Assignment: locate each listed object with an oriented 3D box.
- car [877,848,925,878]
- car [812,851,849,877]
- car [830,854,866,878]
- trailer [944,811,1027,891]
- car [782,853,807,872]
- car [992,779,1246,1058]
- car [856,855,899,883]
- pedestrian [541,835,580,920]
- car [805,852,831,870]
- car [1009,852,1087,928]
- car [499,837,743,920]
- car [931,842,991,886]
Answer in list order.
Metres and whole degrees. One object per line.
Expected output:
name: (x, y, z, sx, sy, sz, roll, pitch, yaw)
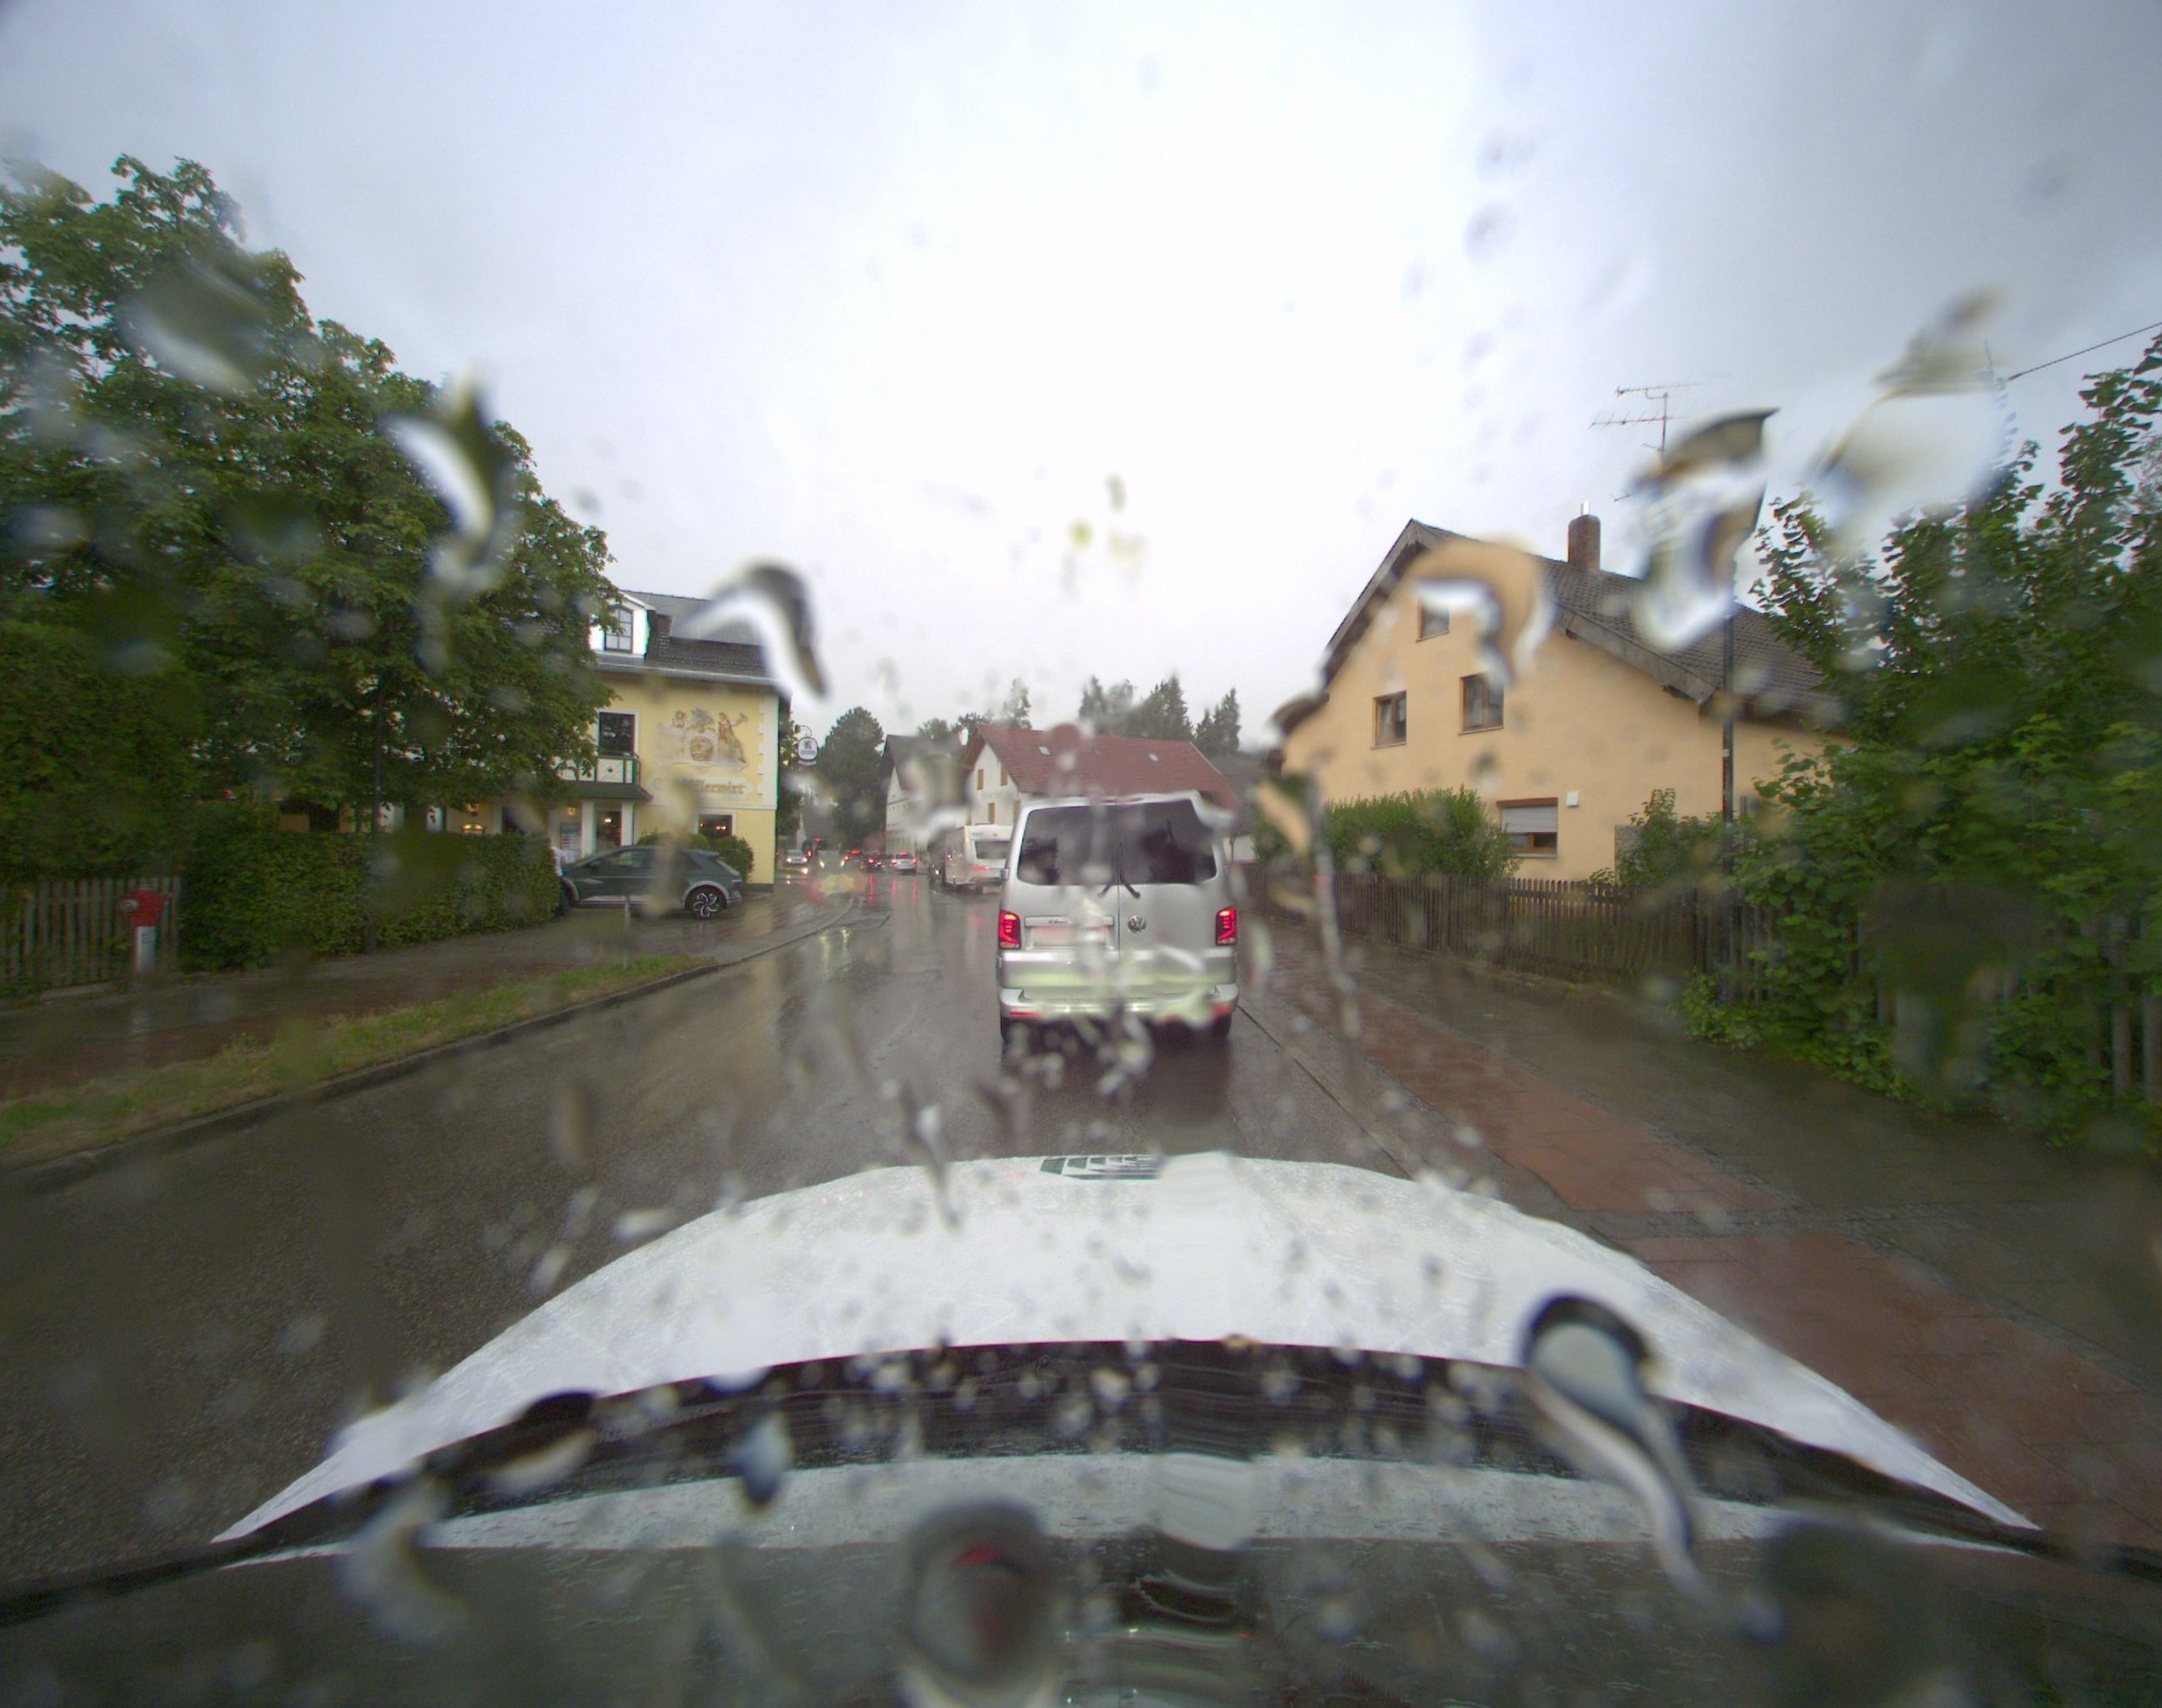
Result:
car: (-12.196, 0.604, 54.931, 2.179, 1.899, 4.973, 1, -1, -24)
car: (-17.897, 0.686, 58.056, 1.932, 1.744, 4.157, -1, 0, -25)
car: (-20.007, 1.030, 69.823, 2.179, 1.899, 4.974, 1, 0, -24)
trailer: (-3.969, -0.105, 32.650, 2.276, 2.904, 6.097, 0, 0, -17)
car: (-26.680, 0.821, 75.854, 1.762, 1.677, 3.966, -1, 0, -26)
car: (0.369, 0.463, 8.327, 1.769, 1.962, 5.077, -1, 0, 2)
car: (-15.187, 1.081, 60.574, 2.179, 1.899, 4.974, 1, 0, -24)
pedestrian: (-10.667, 0.475, 16.704, 0.555, 1.690, 0.488, 4, -1, -30)
car: (-29.131, 0.762, 90.150, 2.179, 1.899, 4.974, 1, 0, -24)
car: (-0.931, 0.801, 20.610, 1.705, 1.584, 4.678, -2, 1, -5)
car: (-10.171, 0.571, 18.391, 4.499, 1.567, 1.824, 4, 1, -27)
car: (-5.697, 0.419, 37.998, 2.058, 1.899, 5.146, 0, 0, -17)
